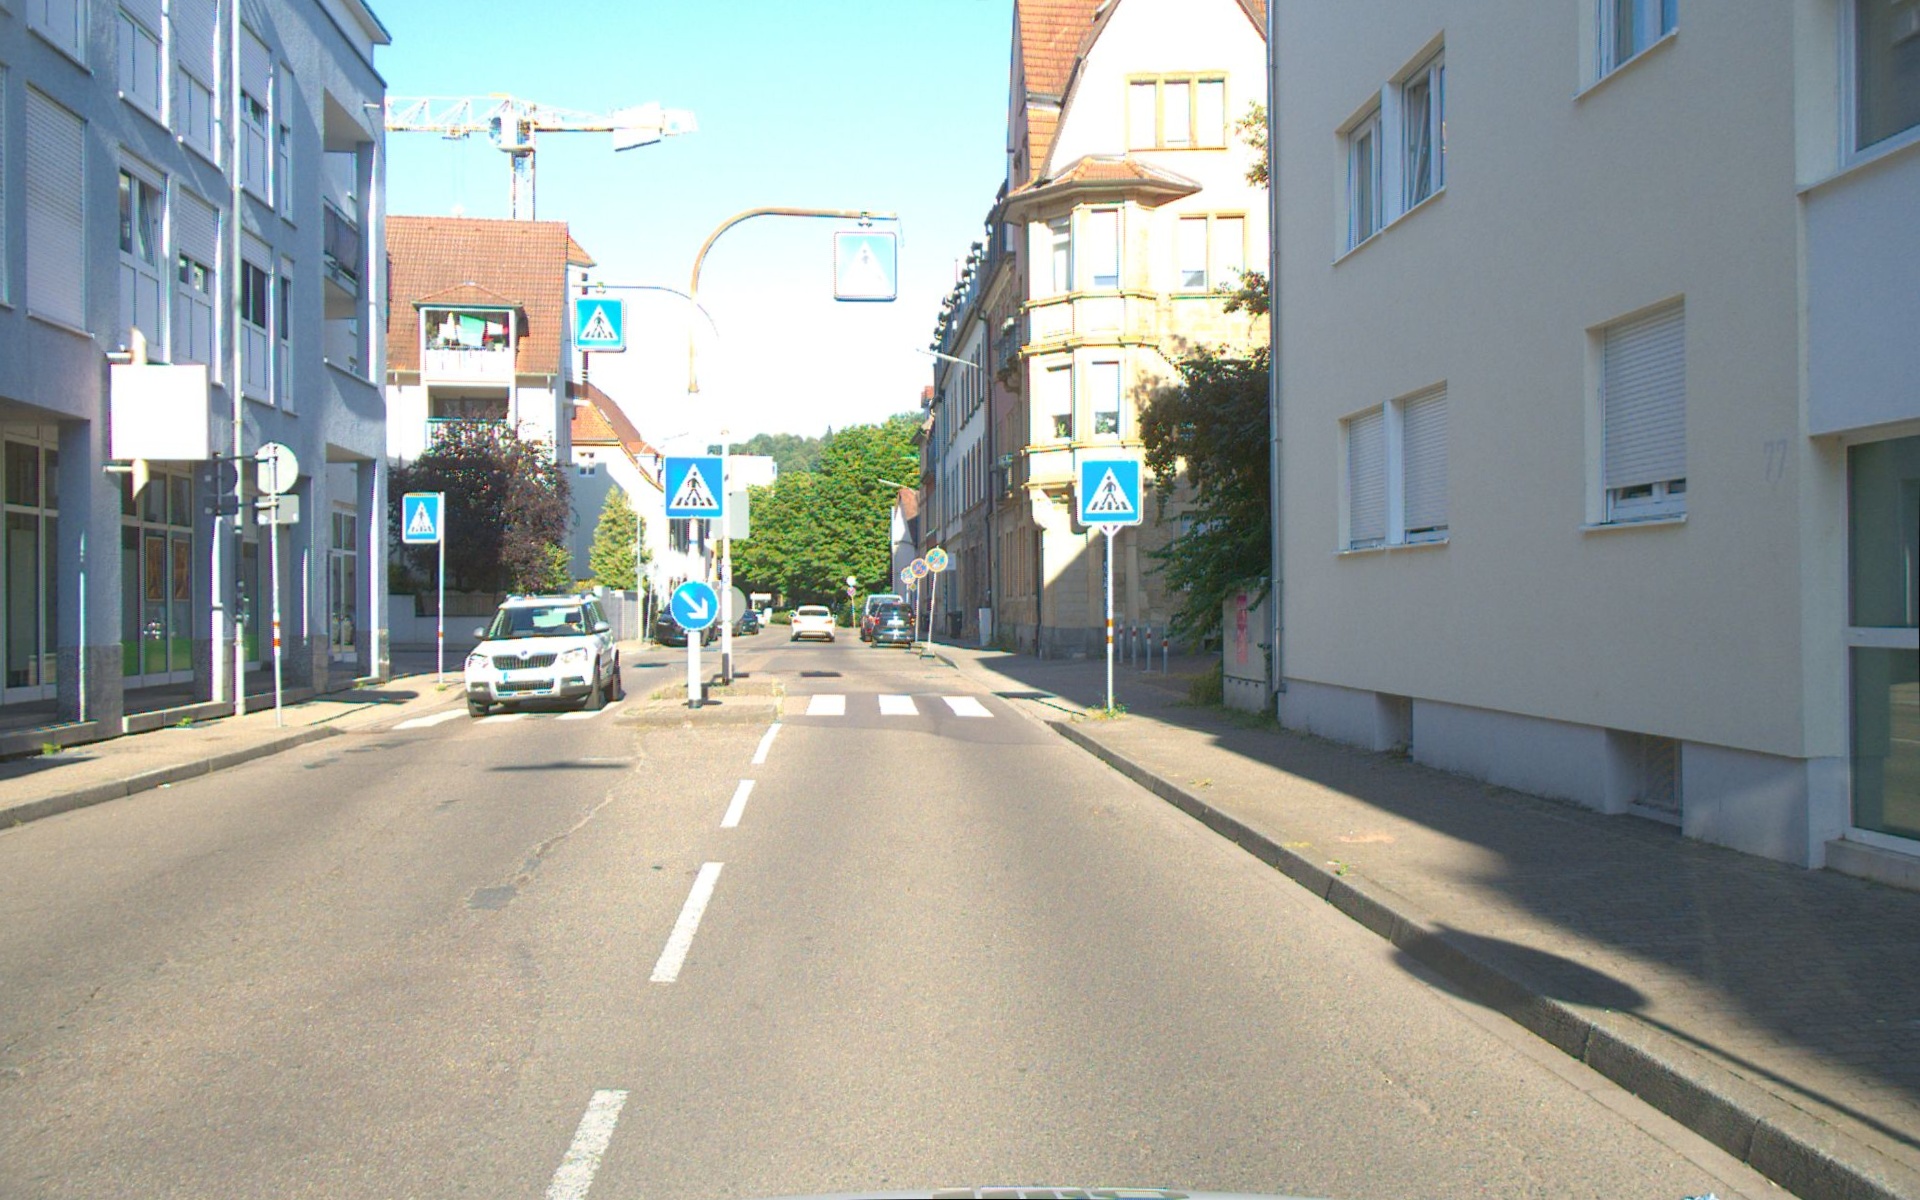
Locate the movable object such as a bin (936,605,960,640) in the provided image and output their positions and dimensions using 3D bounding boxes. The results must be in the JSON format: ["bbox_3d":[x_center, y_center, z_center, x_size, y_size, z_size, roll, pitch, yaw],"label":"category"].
[{"bbox_3d":[-0.499,0.936,68.341,0.855,1.401,0.683,-3,1,-9],"label":"movable object such as a bin"}]

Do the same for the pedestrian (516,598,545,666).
[{"bbox_3d":[-9.634,0.713,37.122,0.546,1.498,0.600,-1,0,-9],"label":"pedestrian"}]

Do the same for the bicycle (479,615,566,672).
[{"bbox_3d":[-9.684,0.956,36.634,1.751,1.205,0.598,-1,0,-5],"label":"bicycle"}]

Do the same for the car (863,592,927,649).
[{"bbox_3d":[-2.304,0.674,57.490,1.972,1.885,3.995,0,0,-6],"label":"car"}]

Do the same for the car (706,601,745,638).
[{"bbox_3d":[-12.485,1.010,88.269,1.874,1.790,4.123,-2,1,-6],"label":"car"}]

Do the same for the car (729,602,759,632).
[{"bbox_3d":[-12.709,0.994,97.317,1.599,1.659,3.170,-2,1,-6],"label":"car"}]

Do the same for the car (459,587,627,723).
[{"bbox_3d":[-5.967,0.723,24.117,1.773,1.731,4.186,-2,0,-7],"label":"car"}]

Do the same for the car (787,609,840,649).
[{"bbox_3d":[-5.962,1.143,66.945,1.956,1.492,3.993,-1,0,-7],"label":"car"}]

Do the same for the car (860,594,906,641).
[{"bbox_3d":[-3.462,0.740,73.720,1.805,1.939,3.995,-2,1,-6],"label":"car"}]

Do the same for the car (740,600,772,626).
[{"bbox_3d":[-16.711,1.073,135.397,1.961,2.049,3.983,-1,0,-16],"label":"car"}]

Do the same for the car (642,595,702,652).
[{"bbox_3d":[-10.648,0.837,61.430,1.955,2.049,3.994,0,0,-7],"label":"car"}]

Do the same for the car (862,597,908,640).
[{"bbox_3d":[-3.110,0.738,68.817,1.782,1.659,3.998,-2,1,-2],"label":"car"}]
